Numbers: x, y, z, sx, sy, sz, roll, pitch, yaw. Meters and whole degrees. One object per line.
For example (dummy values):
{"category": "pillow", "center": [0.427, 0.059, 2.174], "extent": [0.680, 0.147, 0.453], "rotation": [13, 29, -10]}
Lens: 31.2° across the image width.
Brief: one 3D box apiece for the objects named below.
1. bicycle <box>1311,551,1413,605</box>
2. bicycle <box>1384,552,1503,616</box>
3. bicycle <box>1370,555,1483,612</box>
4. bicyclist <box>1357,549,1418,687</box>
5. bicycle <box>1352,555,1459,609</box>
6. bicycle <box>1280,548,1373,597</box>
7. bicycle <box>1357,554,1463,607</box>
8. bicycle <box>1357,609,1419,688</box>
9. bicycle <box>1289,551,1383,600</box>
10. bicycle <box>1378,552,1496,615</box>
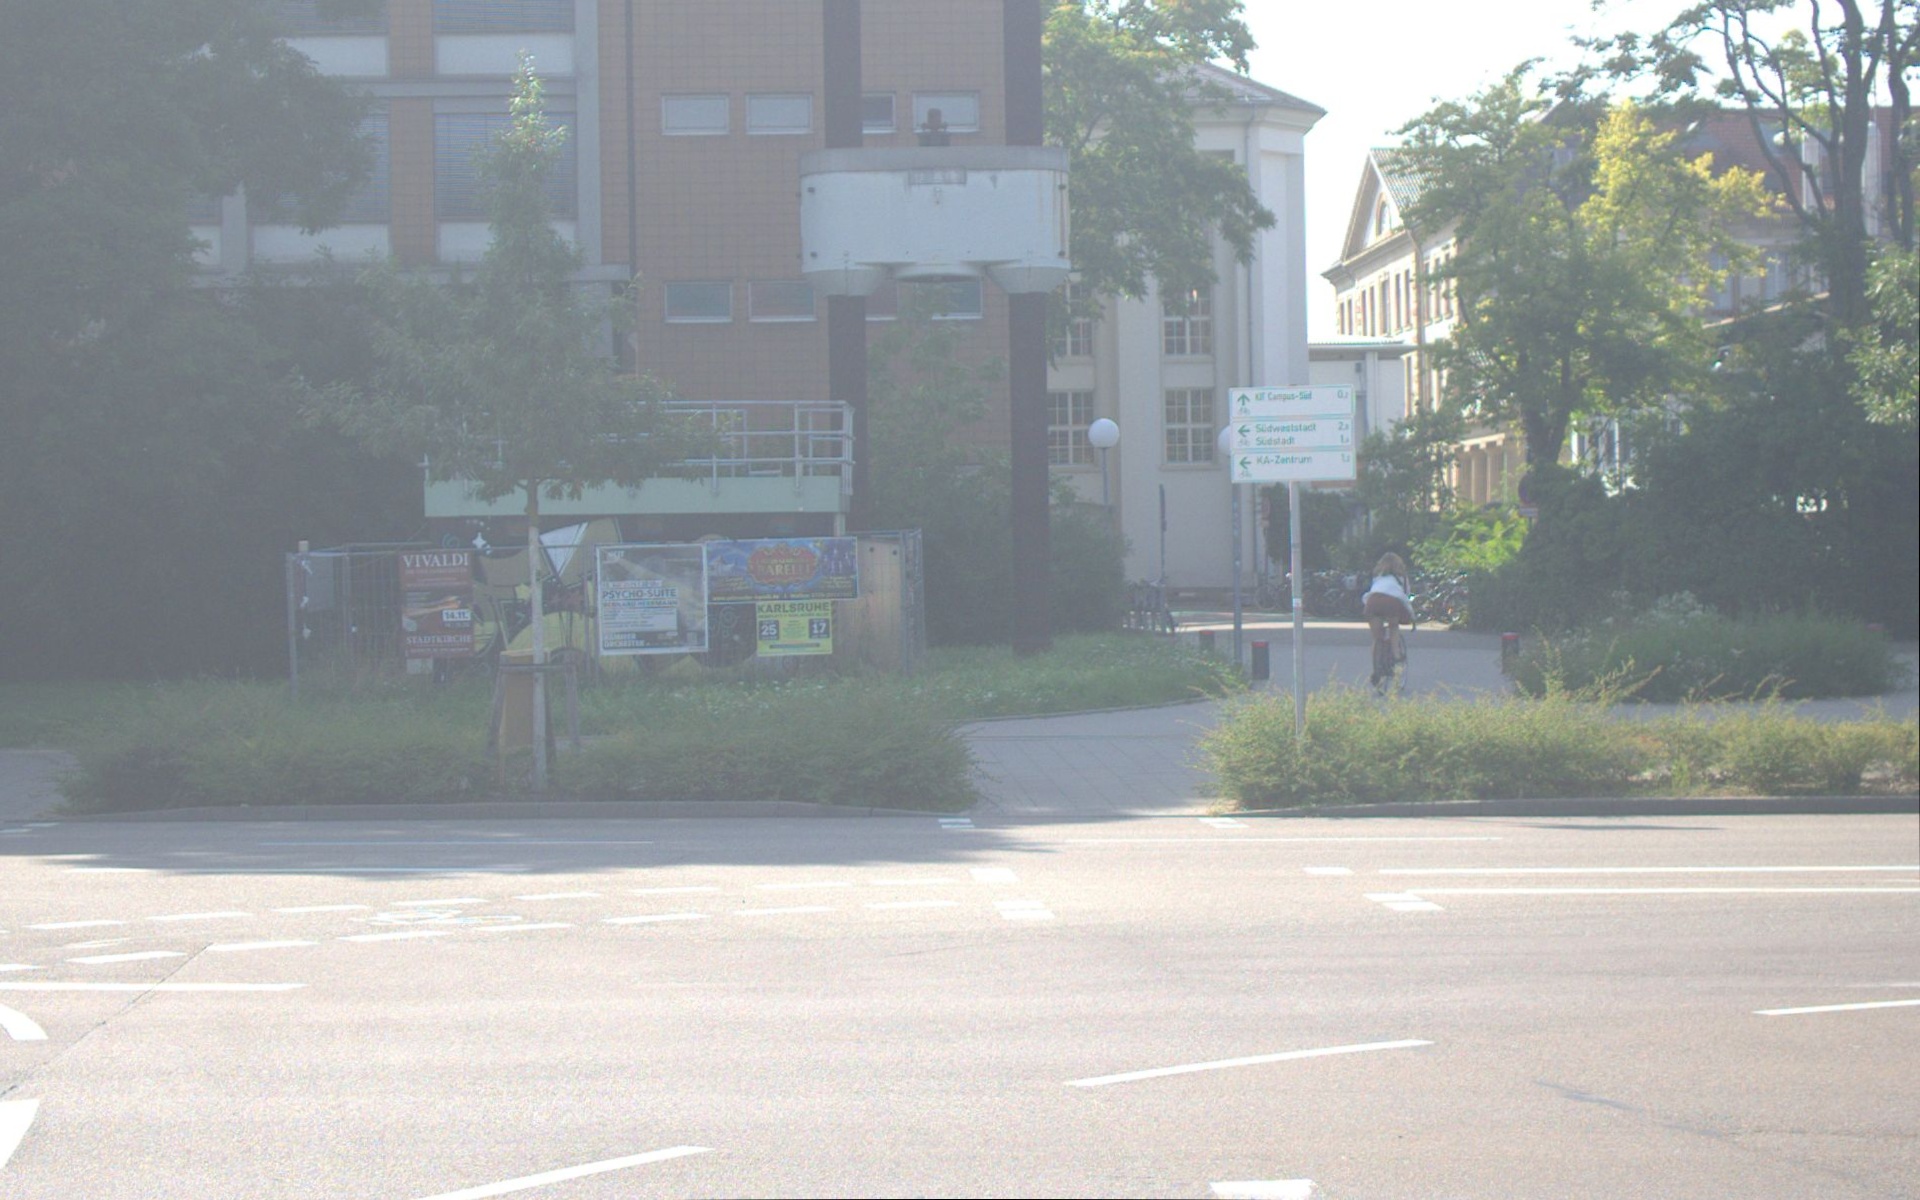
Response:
{"category": "bicycle", "center": [9.879, -0.545, 84.608], "extent": [2.427, 1.277, 0.720], "rotation": [1, 1, 2]}
{"category": "bicycle", "center": [10.265, -0.335, 73.091], "extent": [2.427, 1.314, 0.720], "rotation": [1, 1, 2]}
{"category": "bicycle", "center": [10.405, -0.366, 76.767], "extent": [2.427, 1.219, 0.720], "rotation": [1, 1, 2]}
{"category": "bicyclist", "center": [5.016, 0.204, 40.371], "extent": [0.650, 1.596, 0.919], "rotation": [-1, 1, 6]}
{"category": "bicycle", "center": [10.465, -0.419, 80.834], "extent": [2.427, 1.235, 0.720], "rotation": [1, 1, 2]}
{"category": "bicycle", "center": [9.857, -0.754, 92.478], "extent": [2.427, 1.276, 0.720], "rotation": [1, 1, 2]}
{"category": "bicycle", "center": [10.713, -0.471, 81.875], "extent": [2.427, 1.224, 0.720], "rotation": [1, 1, 2]}
{"category": "bicycle", "center": [5.011, 0.560, 40.275], "extent": [0.673, 0.876, 1.401], "rotation": [-1, 1, 6]}
{"category": "bicycle", "center": [9.995, -0.661, 91.459], "extent": [2.427, 1.258, 0.720], "rotation": [1, 1, 2]}
{"category": "bicycle", "center": [10.291, -0.363, 74.226], "extent": [2.427, 1.314, 0.720], "rotation": [1, 1, 2]}
